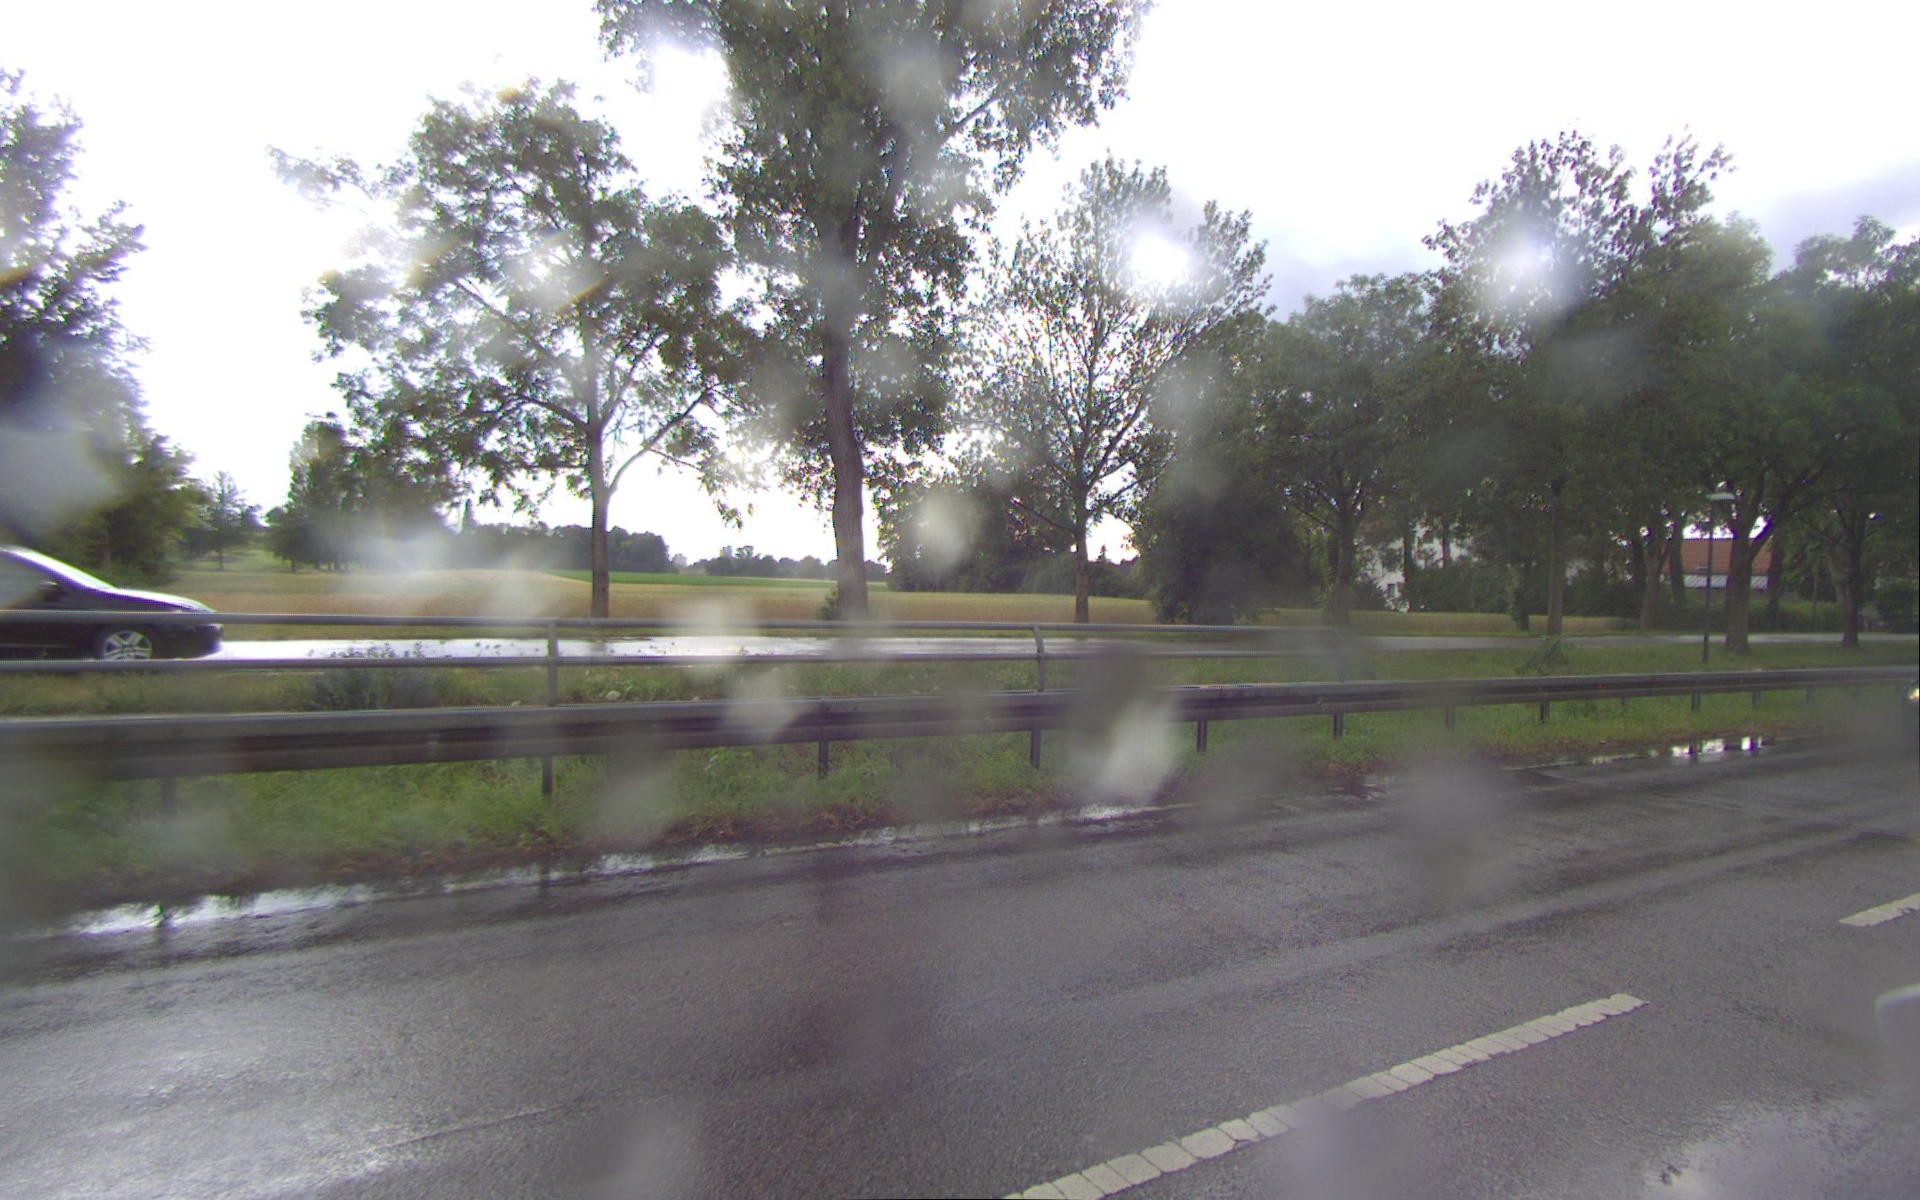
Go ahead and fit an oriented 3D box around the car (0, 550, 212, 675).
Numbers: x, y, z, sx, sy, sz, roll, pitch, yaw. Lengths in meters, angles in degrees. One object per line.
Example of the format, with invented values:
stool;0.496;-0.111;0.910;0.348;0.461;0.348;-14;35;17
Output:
car;-10.852;0.132;11.267;3.858;1.348;1.274;1;0;-35

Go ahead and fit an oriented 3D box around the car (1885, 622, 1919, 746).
car;13.461;1.050;12.554;4.063;1.470;1.705;1;0;-31
